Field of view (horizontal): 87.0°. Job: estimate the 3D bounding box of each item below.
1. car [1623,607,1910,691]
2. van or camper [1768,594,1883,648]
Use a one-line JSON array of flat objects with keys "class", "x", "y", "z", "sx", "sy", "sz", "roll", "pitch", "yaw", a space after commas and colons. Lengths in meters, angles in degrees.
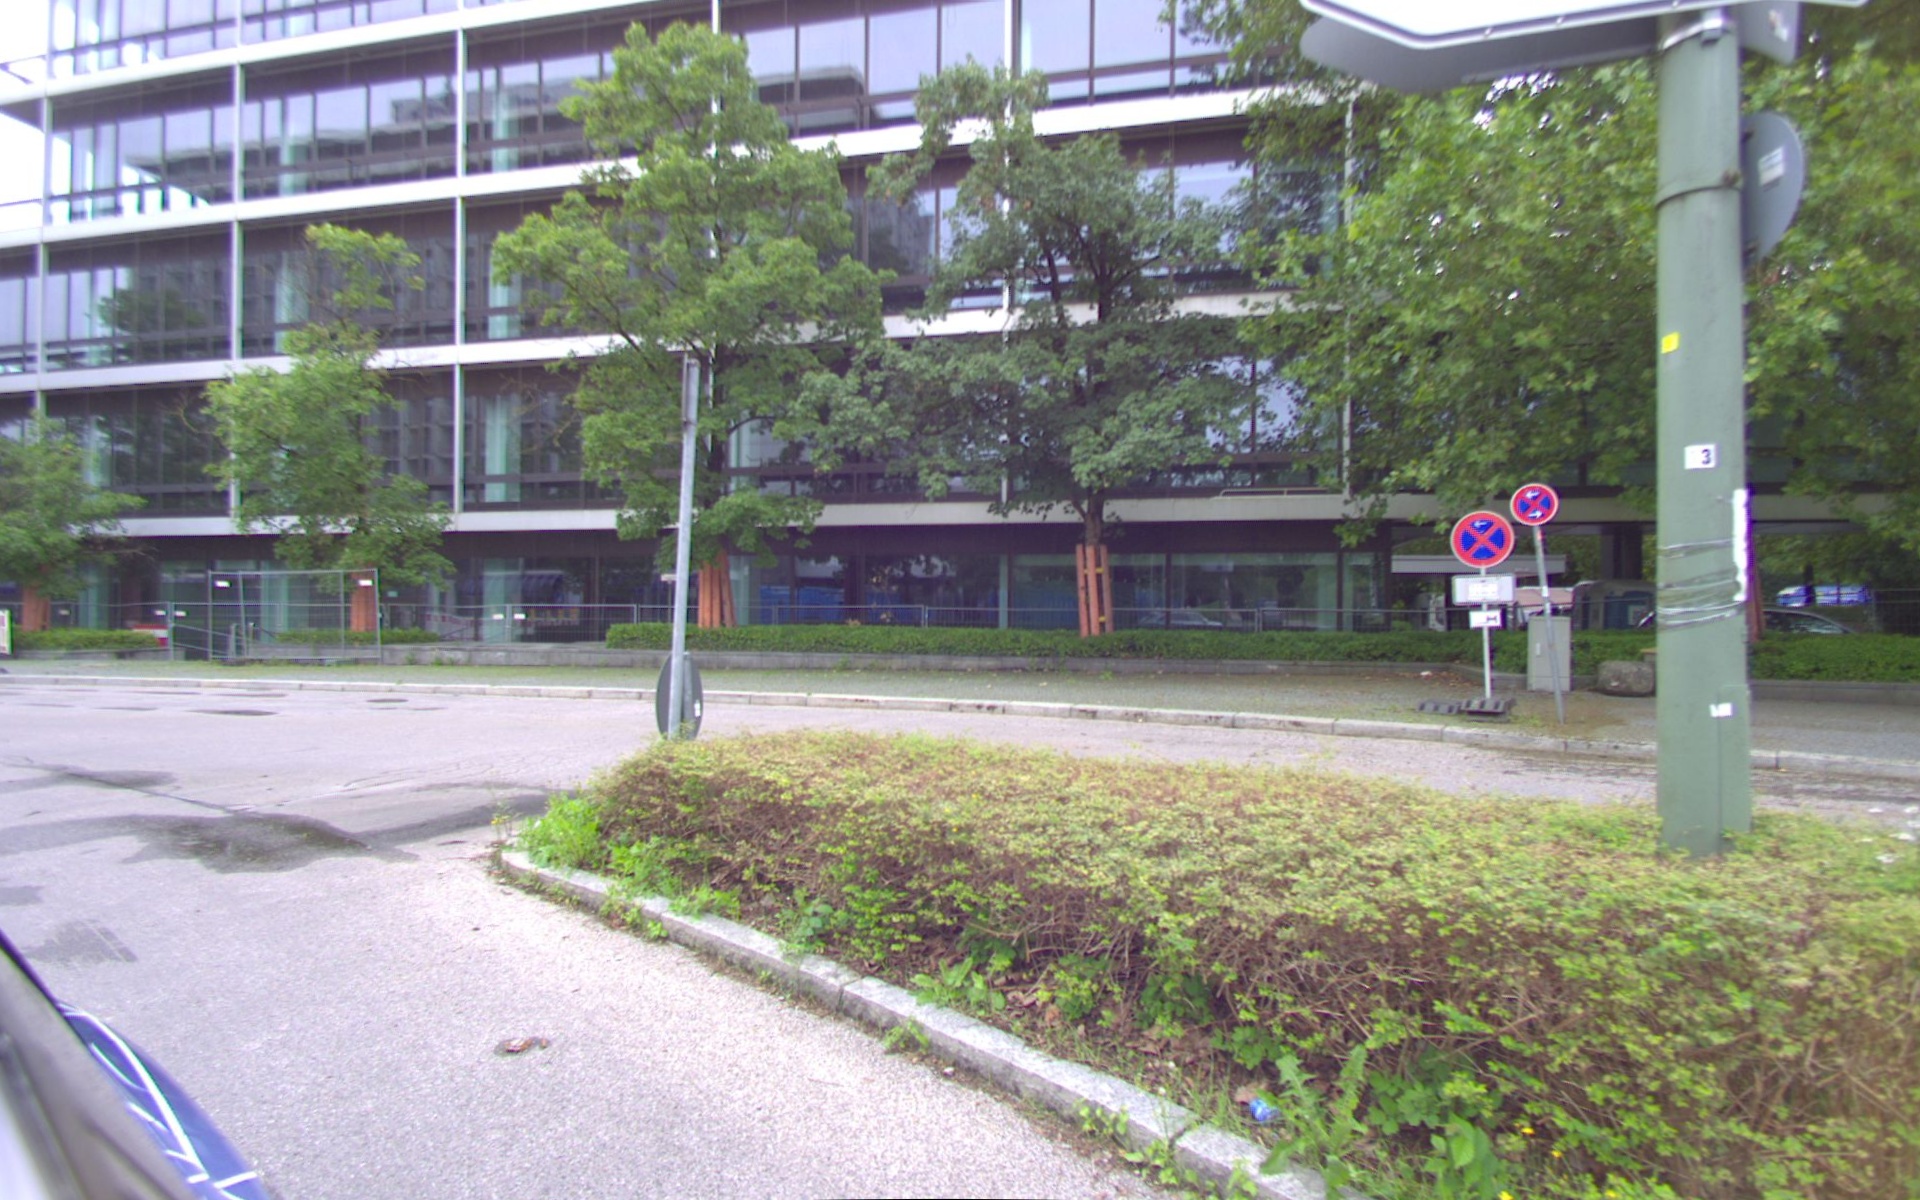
[{"class": "car", "x": 15.281, "y": 0.893, "z": 19.438, "sx": 3.825, "sy": 1.484, "sz": 1.903, "roll": 0, "pitch": -1, "yaw": 16}, {"class": "van or camper", "x": 43.590, "y": 1.054, "z": 51.115, "sx": 2.252, "sy": 2.615, "sz": 4.638, "roll": 0, "pitch": -1, "yaw": 9}]
